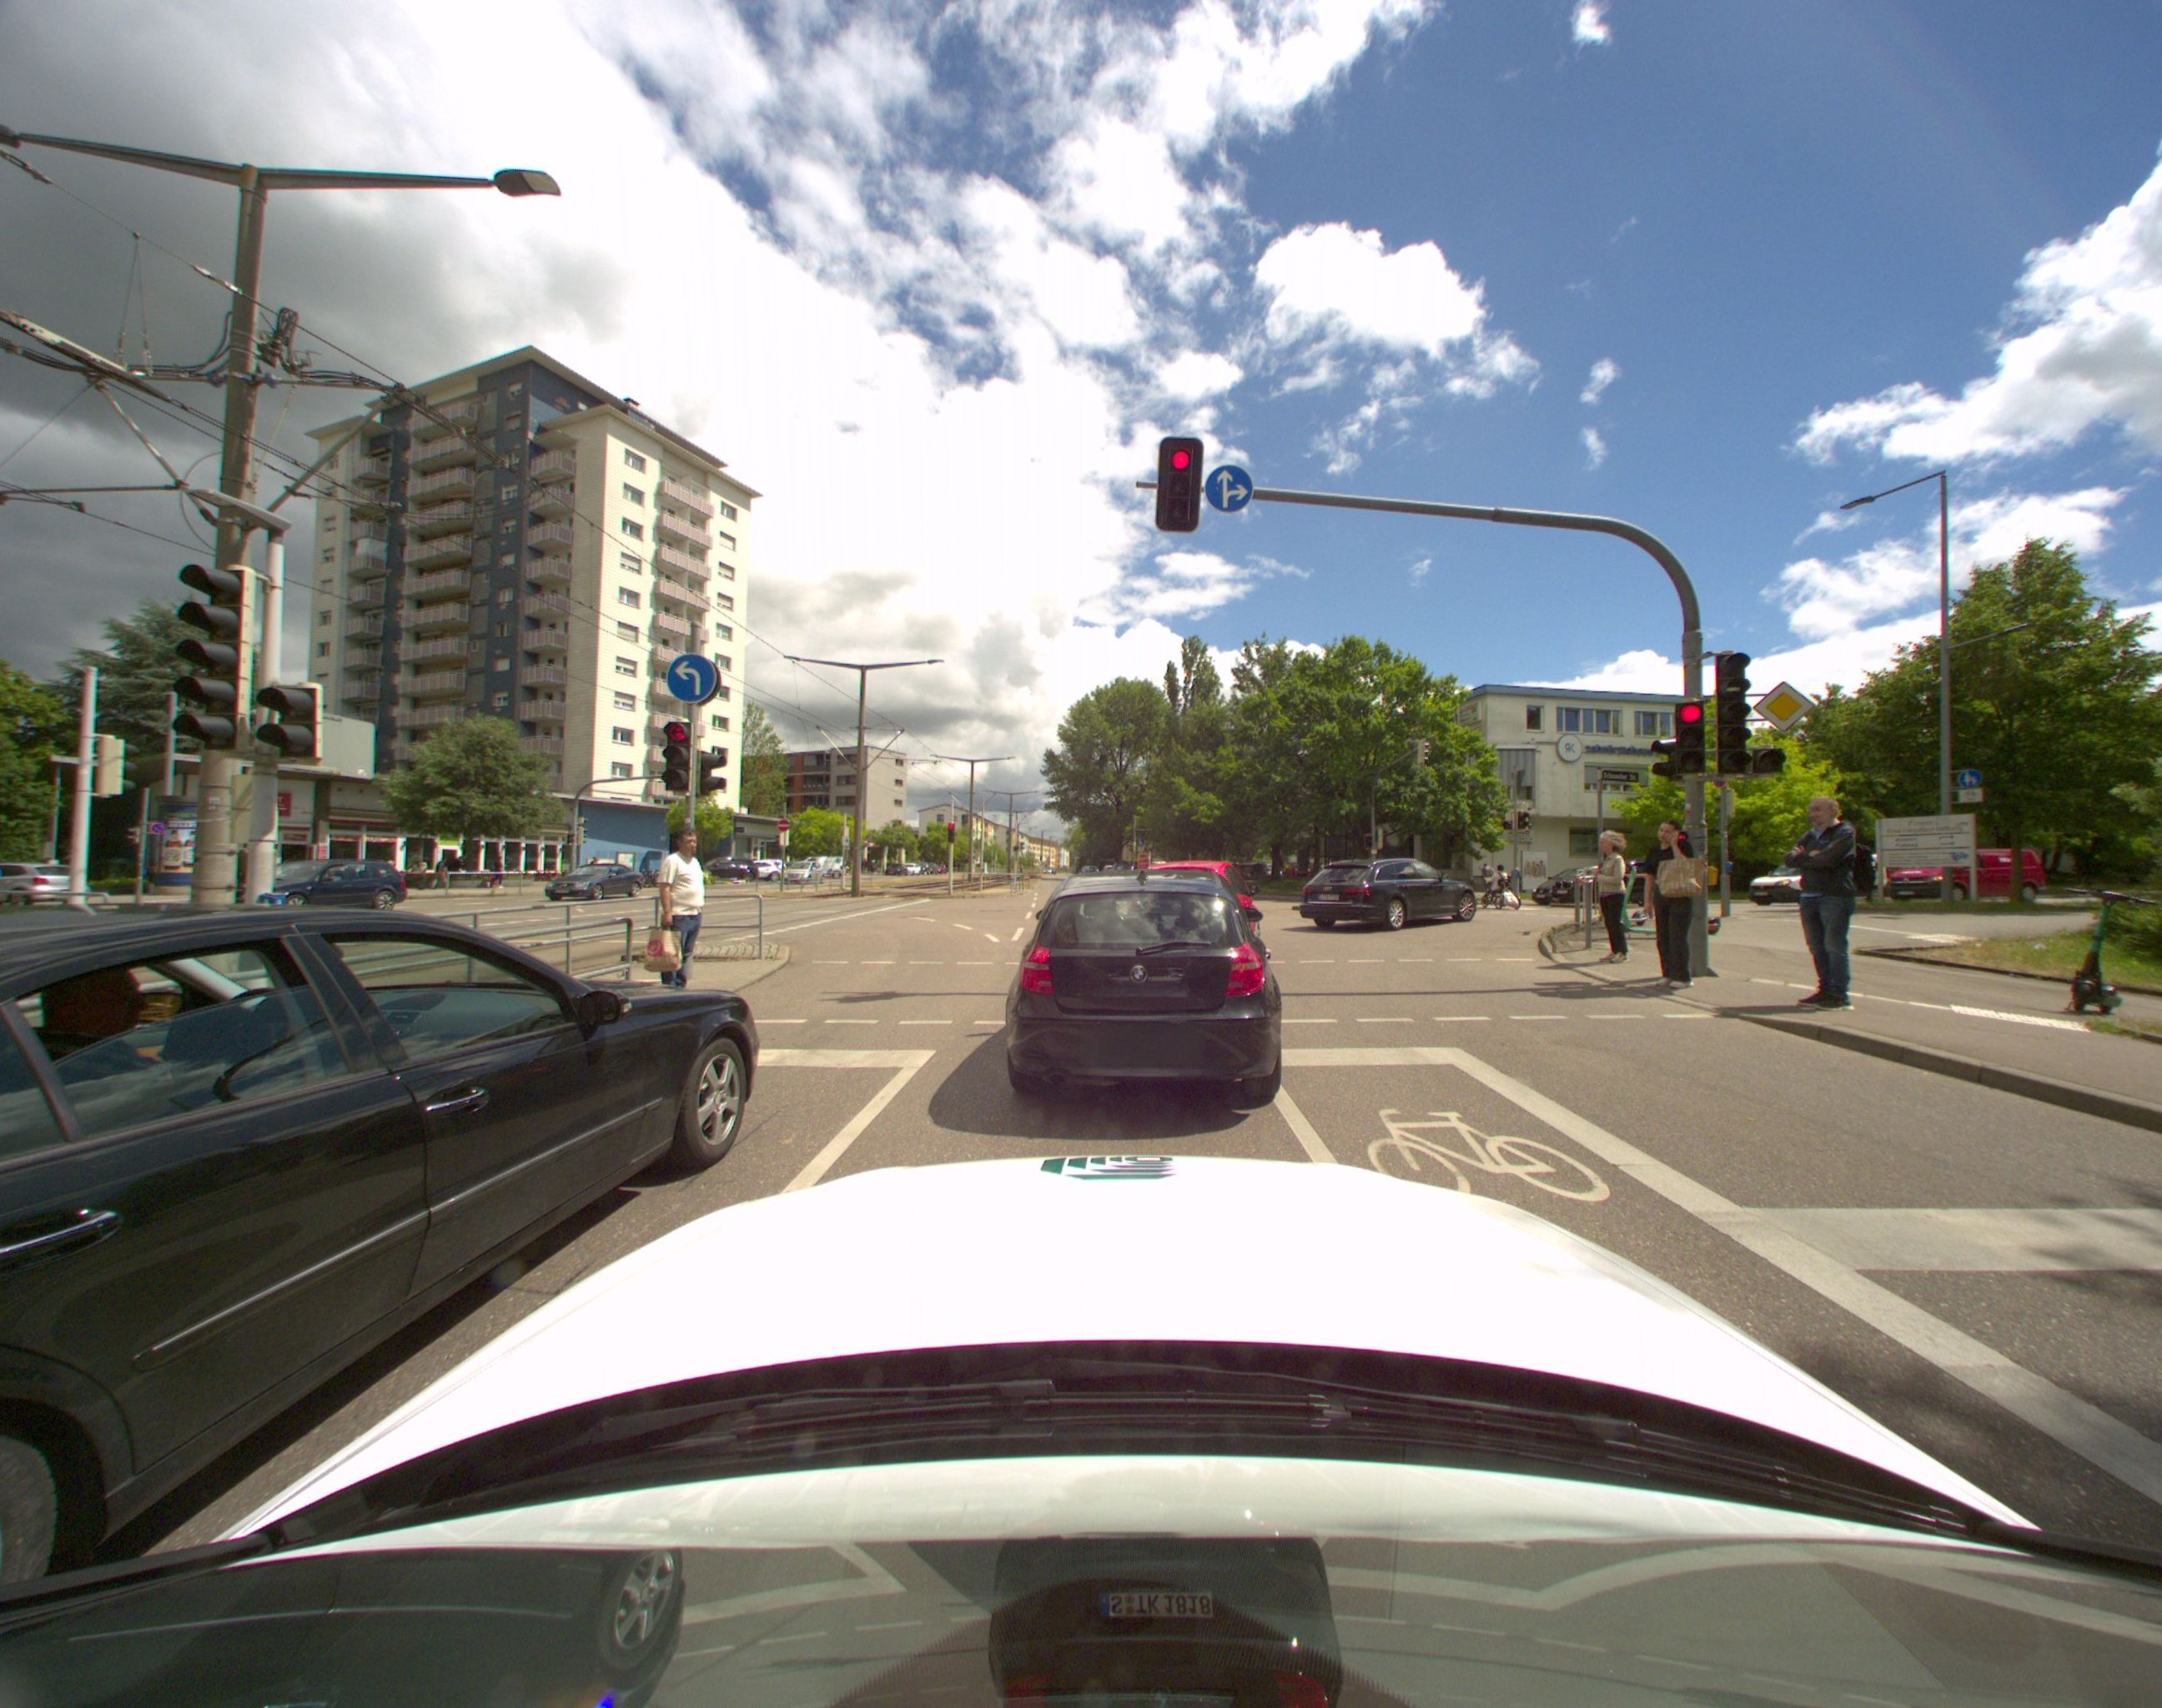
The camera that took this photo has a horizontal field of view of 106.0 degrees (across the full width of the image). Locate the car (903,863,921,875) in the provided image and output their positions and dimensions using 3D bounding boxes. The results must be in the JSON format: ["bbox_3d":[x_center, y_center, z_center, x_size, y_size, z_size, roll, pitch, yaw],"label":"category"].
[{"bbox_3d":[-21.070,1.842,101.707,1.758,1.395,3.993,0,0,-5],"label":"car"}]

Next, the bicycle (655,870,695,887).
[{"bbox_3d":[-23.119,1.394,46.388,1.943,0.935,0.494,0,-1,-5],"label":"bicycle"}]

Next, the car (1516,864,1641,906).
[{"bbox_3d":[19.674,1.188,32.305,3.906,1.555,1.994,0,0,-9],"label":"car"}]

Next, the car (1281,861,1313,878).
[{"bbox_3d":[20.951,1.514,79.024,1.728,1.595,3.992,0,0,-5],"label":"car"}]

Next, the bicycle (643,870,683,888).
[{"bbox_3d":[-23.203,1.384,45.190,1.943,0.935,0.494,0,-1,-5],"label":"bicycle"}]

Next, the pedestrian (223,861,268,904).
[{"bbox_3d":[-33.020,1.113,32.179,0.957,1.659,1.002,-1,-1,28],"label":"pedestrian"}]

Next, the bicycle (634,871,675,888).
[{"bbox_3d":[-23.158,1.375,44.207,1.943,0.935,0.494,0,-1,-5],"label":"bicycle"}]

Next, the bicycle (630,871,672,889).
[{"bbox_3d":[-23.088,1.370,43.744,1.943,0.935,0.494,0,-1,-5],"label":"bicycle"}]

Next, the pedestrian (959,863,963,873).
[{"bbox_3d":[-20.416,2.350,138.490,0.451,1.637,0.480,0,-1,-1],"label":"pedestrian"}]

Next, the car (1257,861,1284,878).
[{"bbox_3d":[18.227,1.439,78.665,1.626,1.595,3.998,0,0,-1],"label":"car"}]

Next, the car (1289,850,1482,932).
[{"bbox_3d":[6.743,0.721,17.801,4.544,1.554,1.976,0,-1,-40],"label":"car"}]

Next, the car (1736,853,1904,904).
[{"bbox_3d":[26.287,0.829,29.047,4.555,1.717,1.995,0,0,-8],"label":"car"}]

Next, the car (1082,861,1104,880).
[{"bbox_3d":[1.192,1.558,77.250,1.986,1.684,4.002,0,0,2],"label":"car"}]

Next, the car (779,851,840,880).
[{"bbox_3d":[-24.326,0.988,72.727,2.848,2.478,6.642,0,0,-41],"label":"car"}]

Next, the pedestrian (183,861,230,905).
[{"bbox_3d":[-33.429,1.106,31.138,0.957,1.659,1.002,-1,-1,28],"label":"pedestrian"}]

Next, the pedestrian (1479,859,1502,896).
[{"bbox_3d":[18.685,1.058,37.175,0.763,1.643,0.910,0,0,12],"label":"pedestrian"}]

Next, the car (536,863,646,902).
[{"bbox_3d":[-19.164,1.084,32.112,1.630,1.399,4.492,0,-1,-1],"label":"car"}]

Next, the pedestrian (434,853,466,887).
[{"bbox_3d":[-36.152,0.900,46.645,0.861,1.917,1.215,0,0,2],"label":"pedestrian"}]

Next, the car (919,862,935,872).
[{"bbox_3d":[-21.297,1.816,112.864,1.758,1.395,3.993,0,0,-5],"label":"car"}]

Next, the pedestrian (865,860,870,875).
[{"bbox_3d":[-24.534,1.502,93.453,0.547,1.716,0.404,0,-1,-8],"label":"pedestrian"}]

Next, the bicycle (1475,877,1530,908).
[{"bbox_3d":[12.566,1.136,24.340,0.788,0.819,1.809,0,0,2],"label":"bicycle"}]

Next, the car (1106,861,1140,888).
[{"bbox_3d":[2.776,1.348,54.297,2.144,1.684,4.001,0,-1,2],"label":"car"}]

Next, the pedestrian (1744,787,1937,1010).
[{"bbox_3d":[7.005,0.388,7.561,0.963,1.942,0.896,0,0,-3],"label":"pedestrian"}]

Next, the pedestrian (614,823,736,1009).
[{"bbox_3d":[-4.109,0.599,8.300,0.866,1.808,0.741,0,0,-2],"label":"pedestrian"}]

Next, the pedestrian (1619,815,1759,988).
[{"bbox_3d":[6.551,0.479,8.807,0.933,1.765,0.770,-1,0,-10],"label":"pedestrian"}]

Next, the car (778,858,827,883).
[{"bbox_3d":[-19.297,1.135,56.524,1.930,1.693,3.874,0,0,2],"label":"car"}]

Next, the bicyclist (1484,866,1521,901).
[{"bbox_3d":[12.558,0.867,24.252,0.788,1.022,0.636,0,-1,1],"label":"bicyclist"}]

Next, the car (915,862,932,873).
[{"bbox_3d":[-20.961,1.808,108.286,1.758,1.395,3.993,0,0,-5],"label":"car"}]

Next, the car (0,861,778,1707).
[{"bbox_3d":[-2.709,0.765,2.475,1.721,1.461,4.546,0,0,2],"label":"car"}]

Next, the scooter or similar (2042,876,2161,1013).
[{"bbox_3d":[10.624,0.926,8.474,1.247,1.275,0.709,6,-1,-38],"label":"scooter or similar"}]

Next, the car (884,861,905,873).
[{"bbox_3d":[-21.553,1.483,94.152,1.758,1.395,3.993,0,0,-5],"label":"car"}]

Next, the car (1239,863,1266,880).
[{"bbox_3d":[16.299,1.632,77.473,1.626,1.573,4.030,0,0,-1],"label":"car"}]

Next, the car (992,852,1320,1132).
[{"bbox_3d":[0.466,0.733,6.342,1.746,1.487,4.002,0,0,2],"label":"car"}]

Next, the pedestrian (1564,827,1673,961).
[{"bbox_3d":[7.018,0.506,10.690,0.945,1.674,0.874,-1,-1,17],"label":"pedestrian"}]

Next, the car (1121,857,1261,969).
[{"bbox_3d":[1.767,0.766,12.260,1.529,1.441,3.211,0,0,18],"label":"car"}]

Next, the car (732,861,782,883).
[{"bbox_3d":[-24.368,1.352,61.203,4.165,1.570,1.973,0,0,45],"label":"car"}]

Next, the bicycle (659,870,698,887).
[{"bbox_3d":[-23.154,1.398,46.878,1.943,0.935,0.494,0,-1,-5],"label":"bicycle"}]

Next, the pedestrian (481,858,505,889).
[{"bbox_3d":[-30.621,1.002,42.434,0.767,1.615,0.695,0,-1,-12],"label":"pedestrian"}]

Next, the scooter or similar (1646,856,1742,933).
[{"bbox_3d":[10.366,0.678,13.786,1.225,1.240,0.555,2,0,-7],"label":"scooter or similar"}]

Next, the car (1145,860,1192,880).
[{"bbox_3d":[8.136,1.500,75.687,4.001,1.823,1.766,0,0,-21],"label":"car"}]

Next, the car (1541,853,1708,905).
[{"bbox_3d":[18.618,0.829,28.001,4.551,1.717,1.996,0,0,-5],"label":"car"}]

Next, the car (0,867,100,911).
[{"bbox_3d":[-35.161,1.134,26.556,3.979,1.398,1.696,0,-1,-4],"label":"car"}]

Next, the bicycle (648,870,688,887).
[{"bbox_3d":[-23.188,1.388,45.736,1.943,0.935,0.494,0,-1,-5],"label":"bicycle"}]

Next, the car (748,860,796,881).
[{"bbox_3d":[-24.436,1.279,64.370,4.165,1.538,1.973,0,0,45],"label":"car"}]

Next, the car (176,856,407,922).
[{"bbox_3d":[-19.142,0.830,20.059,1.625,1.414,4.249,-1,-2,-2],"label":"car"}]

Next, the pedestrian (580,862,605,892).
[{"bbox_3d":[-27.913,1.293,46.553,0.946,1.659,1.094,-1,-1,-14],"label":"pedestrian"}]

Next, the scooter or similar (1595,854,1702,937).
[{"bbox_3d":[8.977,0.649,12.915,1.336,1.277,0.463,0,1,8],"label":"scooter or similar"}]

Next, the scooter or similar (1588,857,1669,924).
[{"bbox_3d":[9.886,0.659,14.701,1.360,1.156,0.540,1,0,-23],"label":"scooter or similar"}]

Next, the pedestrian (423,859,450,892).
[{"bbox_3d":[-31.727,1.054,40.101,0.767,1.615,0.696,0,-1,-10],"label":"pedestrian"}]

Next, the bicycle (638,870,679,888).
[{"bbox_3d":[-23.181,1.380,44.714,1.943,0.935,0.494,0,-1,-5],"label":"bicycle"}]

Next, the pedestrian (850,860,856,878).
[{"bbox_3d":[-23.009,1.509,82.210,0.547,1.716,0.667,0,-1,-8],"label":"pedestrian"}]

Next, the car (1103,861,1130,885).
[{"bbox_3d":[2.709,1.441,61.751,1.986,1.684,4.001,0,-1,2],"label":"car"}]

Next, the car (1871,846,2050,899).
[{"bbox_3d":[31.918,0.670,29.609,4.800,1.864,1.995,0,-2,-8],"label":"car"}]

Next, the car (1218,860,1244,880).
[{"bbox_3d":[14.075,1.508,76.690,1.626,1.811,4.030,0,0,-1],"label":"car"}]
